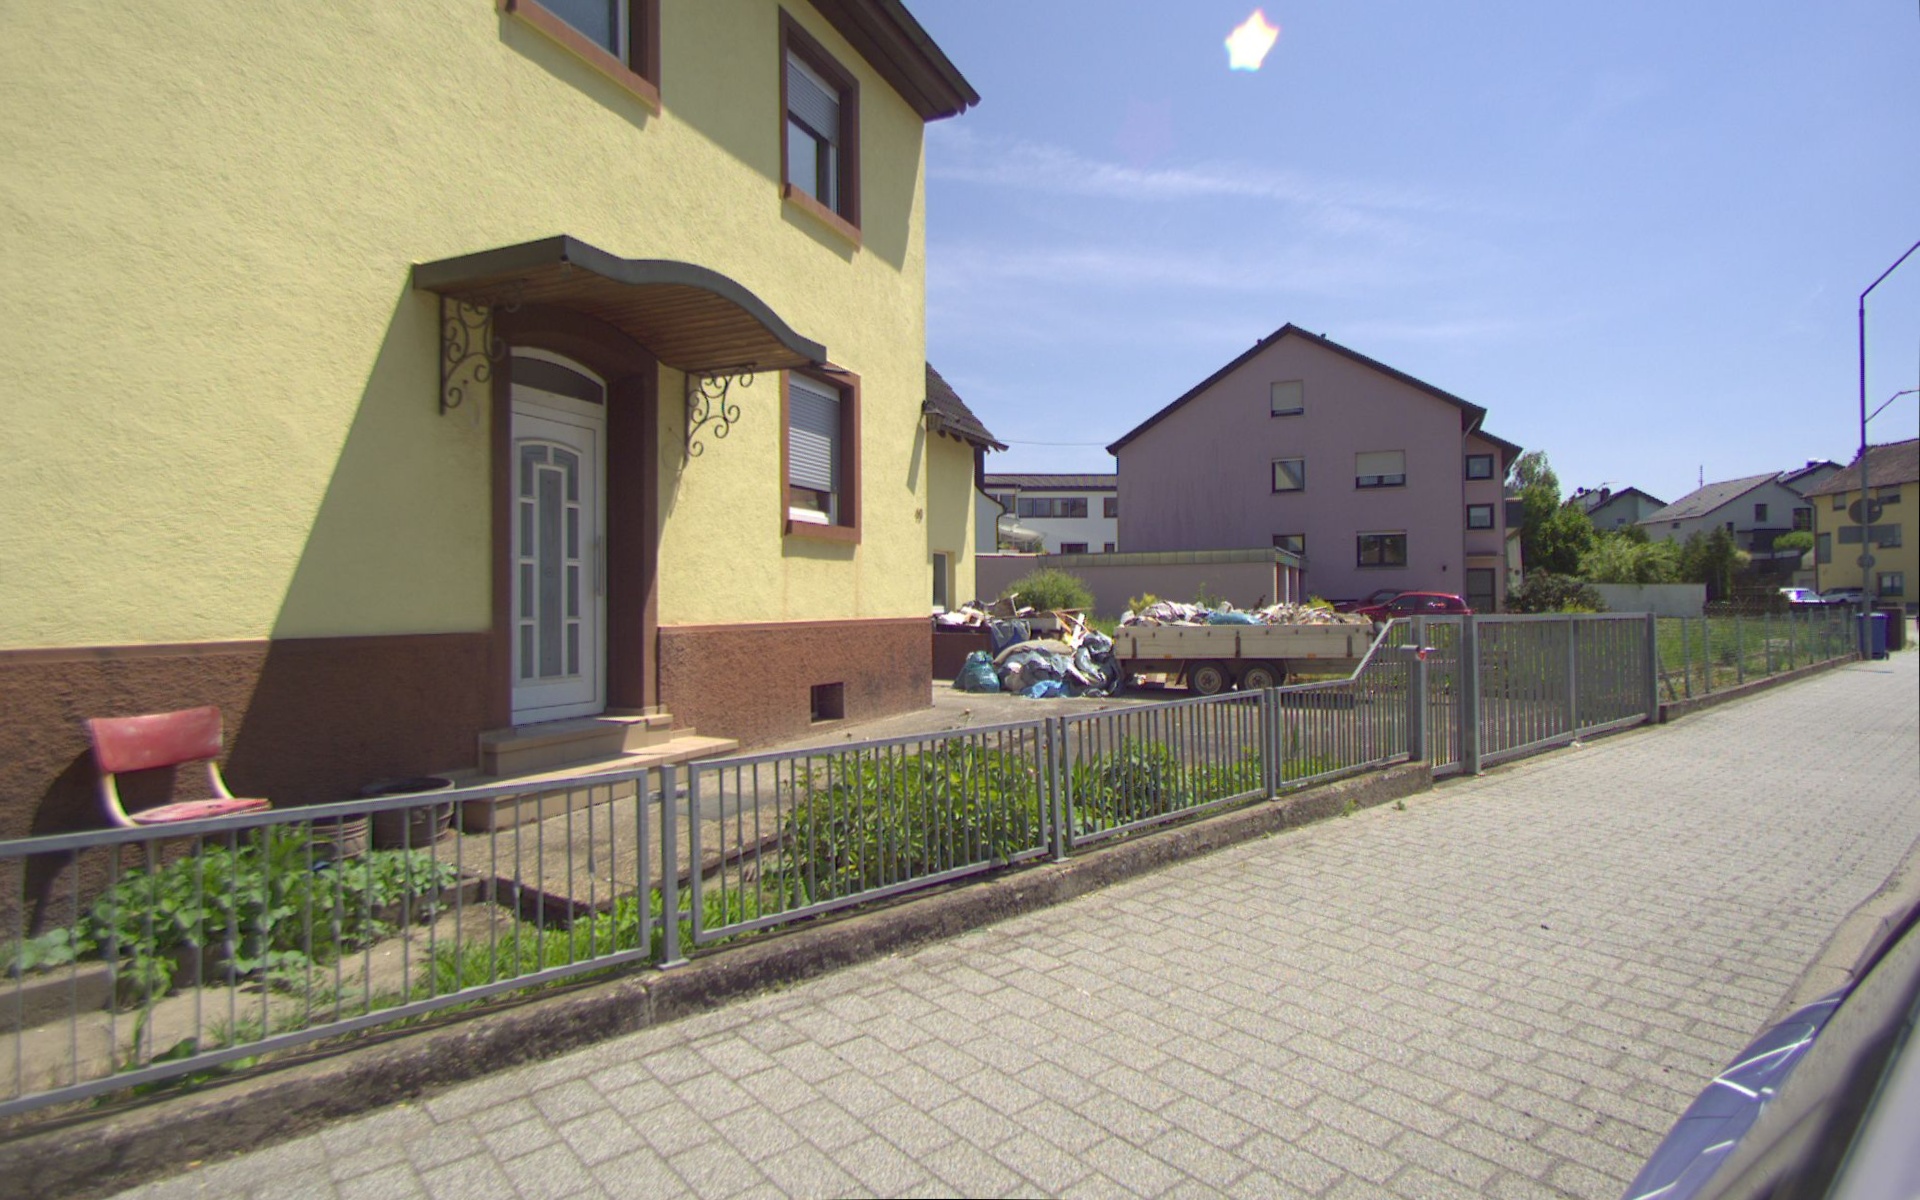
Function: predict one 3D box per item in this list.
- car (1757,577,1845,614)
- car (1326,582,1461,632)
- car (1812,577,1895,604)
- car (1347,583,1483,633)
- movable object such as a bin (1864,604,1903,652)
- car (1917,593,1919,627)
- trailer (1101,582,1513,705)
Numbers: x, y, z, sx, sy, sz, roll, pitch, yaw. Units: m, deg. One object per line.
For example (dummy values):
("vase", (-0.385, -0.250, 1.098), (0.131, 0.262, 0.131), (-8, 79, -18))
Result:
("car", (46.667, -0.236, 56.293), (1.843, 1.933, 5.009), (-2, -1, 17))
("car", (14.715, 0.236, 34.523), (4.077, 1.567, 1.837), (-2, 0, 23))
("car", (56.088, -0.586, 63.631), (1.705, 1.571, 4.182), (-2, 0, 6))
("car", (14.325, 0.215, 31.941), (3.799, 1.505, 1.745), (0, 0, 27))
("movable object such as a bin", (21.413, 0.638, 23.471), (0.562, 1.071, 0.643), (-1, 0, 34))
("car", (40.276, 0.387, 40.314), (1.877, 1.394, 3.967), (-2, -1, 24))
("trailer", (4.915, 0.634, 14.855), (5.298, 1.566, 2.124), (-2, -1, 21))
